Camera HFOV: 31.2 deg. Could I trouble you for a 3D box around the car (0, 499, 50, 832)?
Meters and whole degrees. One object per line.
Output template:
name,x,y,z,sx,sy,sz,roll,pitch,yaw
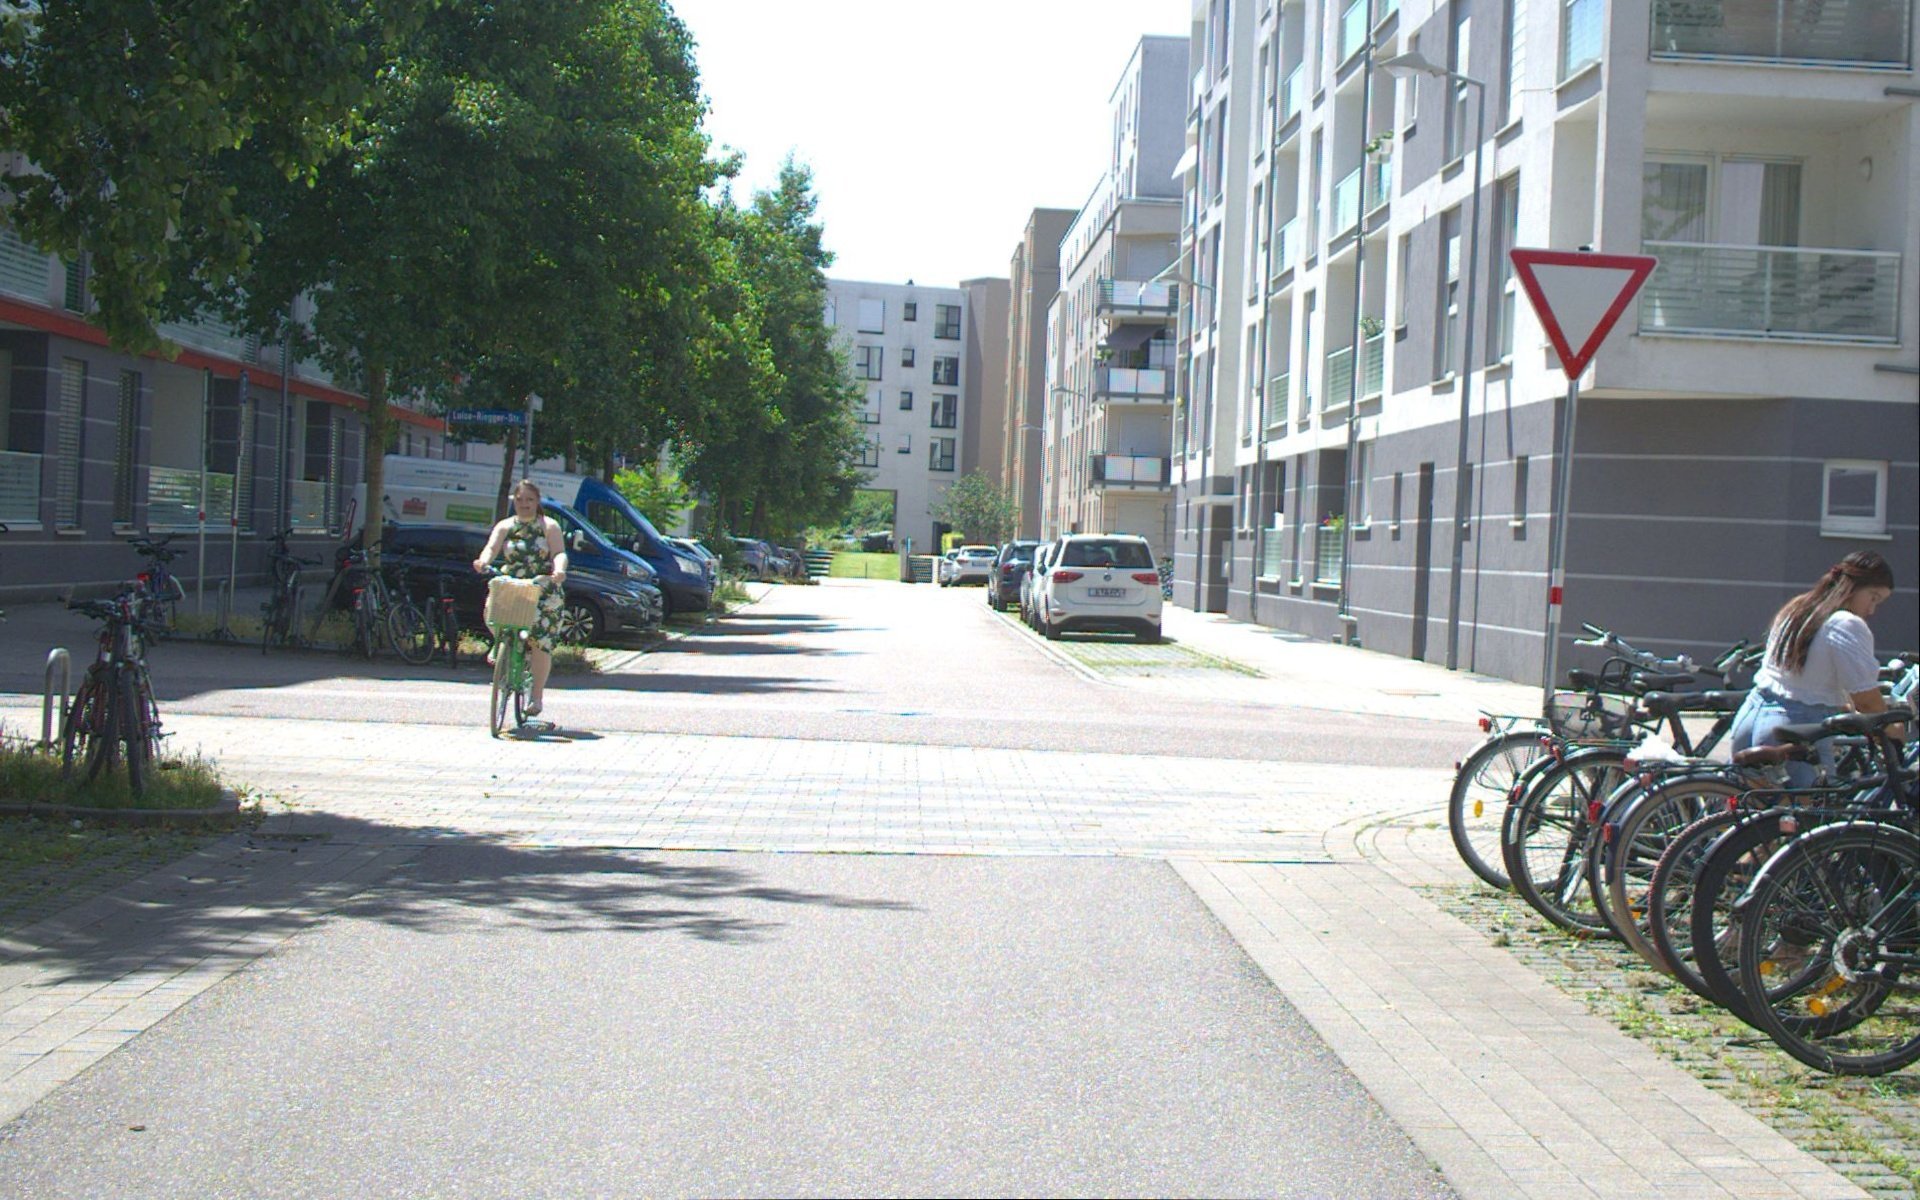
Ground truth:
car,-6.142,0.189,15.288,3.630,1.515,1.832,4,1,-1

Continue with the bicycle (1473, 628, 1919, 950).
bicycle,3.016,0.730,13.577,1.924,1.175,0.638,1,1,8

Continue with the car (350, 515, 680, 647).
car,-6.292,-0.282,48.965,4.383,1.536,1.878,4,1,-1

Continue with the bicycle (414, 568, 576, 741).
bicycle,-3.296,0.365,24.550,0.898,1.125,2.040,2,1,-2

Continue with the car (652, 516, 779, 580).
car,-8.376,-1.788,117.843,3.988,2.007,2.000,2,1,6

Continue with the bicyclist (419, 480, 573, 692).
bicyclist,-3.297,-0.105,24.495,0.954,1.454,0.800,2,1,-2

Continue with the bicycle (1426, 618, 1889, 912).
bicycle,3.010,0.703,14.969,1.859,1.189,0.687,1,1,2

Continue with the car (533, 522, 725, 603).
car,-7.312,-0.842,76.221,3.987,1.612,2.000,2,1,1

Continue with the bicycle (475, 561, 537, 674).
bicycle,-4.812,0.167,36.531,0.466,1.138,1.926,2,1,-3

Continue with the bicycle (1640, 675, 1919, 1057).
bicycle,3.104,0.816,10.668,1.786,1.100,0.747,1,1,-4

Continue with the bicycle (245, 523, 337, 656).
bicycle,-7.055,-0.124,36.334,0.593,1.327,1.812,2,2,0

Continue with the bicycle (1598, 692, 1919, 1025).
bicycle,3.139,0.851,11.363,1.923,1.031,0.559,1,1,-4

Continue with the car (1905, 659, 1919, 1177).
car,3.230,0.710,6.274,1.738,1.480,4.229,1,1,-1

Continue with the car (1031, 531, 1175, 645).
car,2.192,-0.223,53.704,1.997,1.651,4.115,2,1,-1

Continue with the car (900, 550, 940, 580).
car,-2.146,-1.883,184.871,1.993,1.514,4.000,2,1,1

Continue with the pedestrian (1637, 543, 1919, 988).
pedestrian,3.099,0.570,12.147,1.178,1.509,0.688,1,1,-10

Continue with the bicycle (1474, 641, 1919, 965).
bicycle,2.929,0.752,12.971,1.924,1.129,0.609,1,1,8

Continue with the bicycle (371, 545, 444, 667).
bicycle,-5.829,0.045,36.305,0.434,1.200,1.700,4,2,0

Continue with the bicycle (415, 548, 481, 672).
bicycle,-5.397,0.094,36.304,0.570,1.170,1.769,5,2,-8

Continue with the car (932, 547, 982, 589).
car,-0.144,-1.421,149.577,1.993,1.711,4.001,2,1,-2

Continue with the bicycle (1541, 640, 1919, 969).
bicycle,3.070,0.737,12.606,1.833,1.144,0.461,1,1,-20

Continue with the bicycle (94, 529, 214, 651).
bicycle,-8.456,-0.125,36.151,0.689,1.166,2.223,5,2,-1

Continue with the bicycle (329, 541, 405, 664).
bicycle,-6.298,0.010,36.552,0.518,1.200,1.752,4,2,-3

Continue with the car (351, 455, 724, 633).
car,-7.181,-0.967,59.013,6.023,2.806,2.605,2,1,-1

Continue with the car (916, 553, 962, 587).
car,-1.031,-1.435,163.635,1.993,1.514,4.001,2,1,-2

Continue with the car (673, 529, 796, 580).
car,-7.887,-1.602,120.422,3.988,1.597,2.000,2,1,5

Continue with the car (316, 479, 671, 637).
car,-7.209,-0.672,53.584,5.145,2.112,2.312,3,1,-1

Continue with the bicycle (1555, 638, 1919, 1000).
bicycle,3.094,0.764,12.023,1.923,1.213,0.461,1,1,-10

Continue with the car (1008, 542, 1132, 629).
car,2.016,-0.292,64.234,1.993,1.519,4.001,2,1,-2

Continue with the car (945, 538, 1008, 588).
car,0.562,-1.346,122.351,1.993,1.669,4.001,2,1,-2

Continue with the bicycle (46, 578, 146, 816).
bicycle,-4.458,0.473,17.803,0.433,1.124,1.979,2,1,-13

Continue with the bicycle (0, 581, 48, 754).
bicycle,-5.825,0.384,19.914,0.533,0.987,1.677,5,0,1

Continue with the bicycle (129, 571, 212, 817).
bicycle,-4.097,0.458,17.835,0.371,1.176,1.821,2,1,-13

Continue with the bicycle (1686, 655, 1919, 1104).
bicycle,3.130,0.796,9.921,1.869,1.213,0.715,1,1,-4

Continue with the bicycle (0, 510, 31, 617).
bicycle,-11.367,-0.435,40.116,0.551,1.236,1.925,2,1,-2

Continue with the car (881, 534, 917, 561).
car,-3.659,-3.127,205.714,1.993,1.514,4.001,2,1,-2

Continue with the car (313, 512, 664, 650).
car,-6.312,-0.268,46.413,4.383,1.509,2.075,4,1,-1

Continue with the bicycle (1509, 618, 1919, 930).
bicycle,3.134,0.708,14.260,1.550,1.213,0.708,1,1,-2

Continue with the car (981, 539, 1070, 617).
car,1.435,-0.487,73.807,1.757,1.547,4.000,3,1,2

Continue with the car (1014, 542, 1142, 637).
car,1.996,-0.212,59.405,1.993,1.519,4.000,2,1,-1
